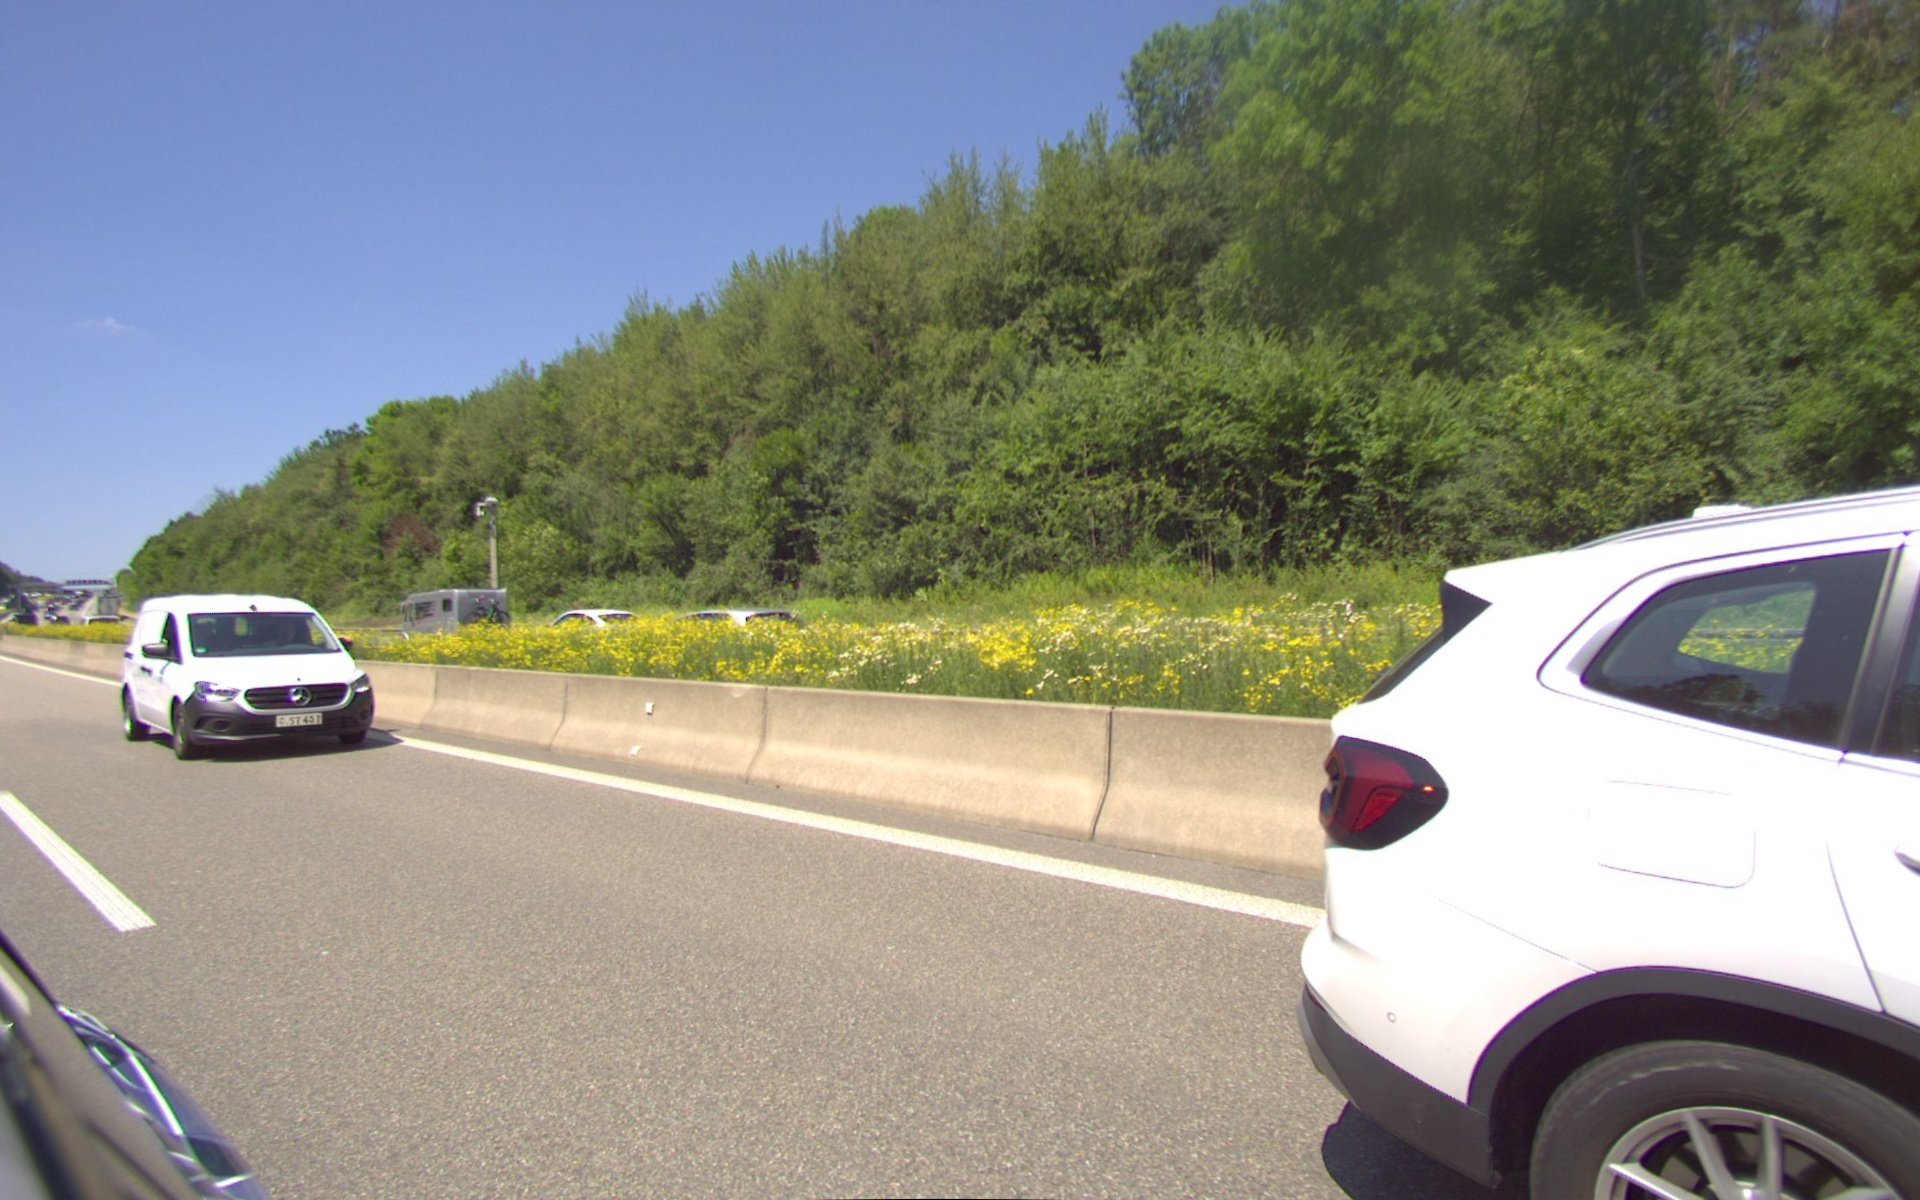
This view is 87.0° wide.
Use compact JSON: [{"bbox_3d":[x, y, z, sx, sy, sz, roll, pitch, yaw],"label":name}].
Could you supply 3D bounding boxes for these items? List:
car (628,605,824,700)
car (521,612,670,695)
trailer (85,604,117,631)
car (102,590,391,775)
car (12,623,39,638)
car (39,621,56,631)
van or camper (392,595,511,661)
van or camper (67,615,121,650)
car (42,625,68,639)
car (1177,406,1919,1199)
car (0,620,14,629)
[{"bbox_3d":[-4.046,0.820,17.228,3.562,1.453,1.462,0,0,41],"label":"car"},{"bbox_3d":[-9.964,1.358,27.468,4.568,2.029,1.972,0,0,43],"label":"car"},{"bbox_3d":[-142.904,2.823,168.244,13.936,4.239,2.685,0,0,44],"label":"trailer"},{"bbox_3d":[-8.724,0.863,12.196,4.670,1.826,1.747,-2,-1,40],"label":"car"},{"bbox_3d":[-102.114,3.297,110.578,1.971,1.484,4.876,0,0,-45],"label":"car"},{"bbox_3d":[-160.762,4.553,178.317,4.000,1.584,1.972,0,0,43],"label":"car"},{"bbox_3d":[-21.437,1.103,42.502,6.931,2.580,2.163,0,0,42],"label":"van or camper"},{"bbox_3d":[-53.724,1.964,62.779,4.585,2.029,1.863,0,0,41],"label":"van or camper"},{"bbox_3d":[-109.111,3.821,121.954,4.000,1.497,1.972,0,0,43],"label":"car"},{"bbox_3d":[2.961,0.543,1.351,4.953,1.707,1.845,-2,-1,41],"label":"car"},{"bbox_3d":[-157.226,4.037,166.684,4.002,1.497,1.971,0,0,45],"label":"car"}]
